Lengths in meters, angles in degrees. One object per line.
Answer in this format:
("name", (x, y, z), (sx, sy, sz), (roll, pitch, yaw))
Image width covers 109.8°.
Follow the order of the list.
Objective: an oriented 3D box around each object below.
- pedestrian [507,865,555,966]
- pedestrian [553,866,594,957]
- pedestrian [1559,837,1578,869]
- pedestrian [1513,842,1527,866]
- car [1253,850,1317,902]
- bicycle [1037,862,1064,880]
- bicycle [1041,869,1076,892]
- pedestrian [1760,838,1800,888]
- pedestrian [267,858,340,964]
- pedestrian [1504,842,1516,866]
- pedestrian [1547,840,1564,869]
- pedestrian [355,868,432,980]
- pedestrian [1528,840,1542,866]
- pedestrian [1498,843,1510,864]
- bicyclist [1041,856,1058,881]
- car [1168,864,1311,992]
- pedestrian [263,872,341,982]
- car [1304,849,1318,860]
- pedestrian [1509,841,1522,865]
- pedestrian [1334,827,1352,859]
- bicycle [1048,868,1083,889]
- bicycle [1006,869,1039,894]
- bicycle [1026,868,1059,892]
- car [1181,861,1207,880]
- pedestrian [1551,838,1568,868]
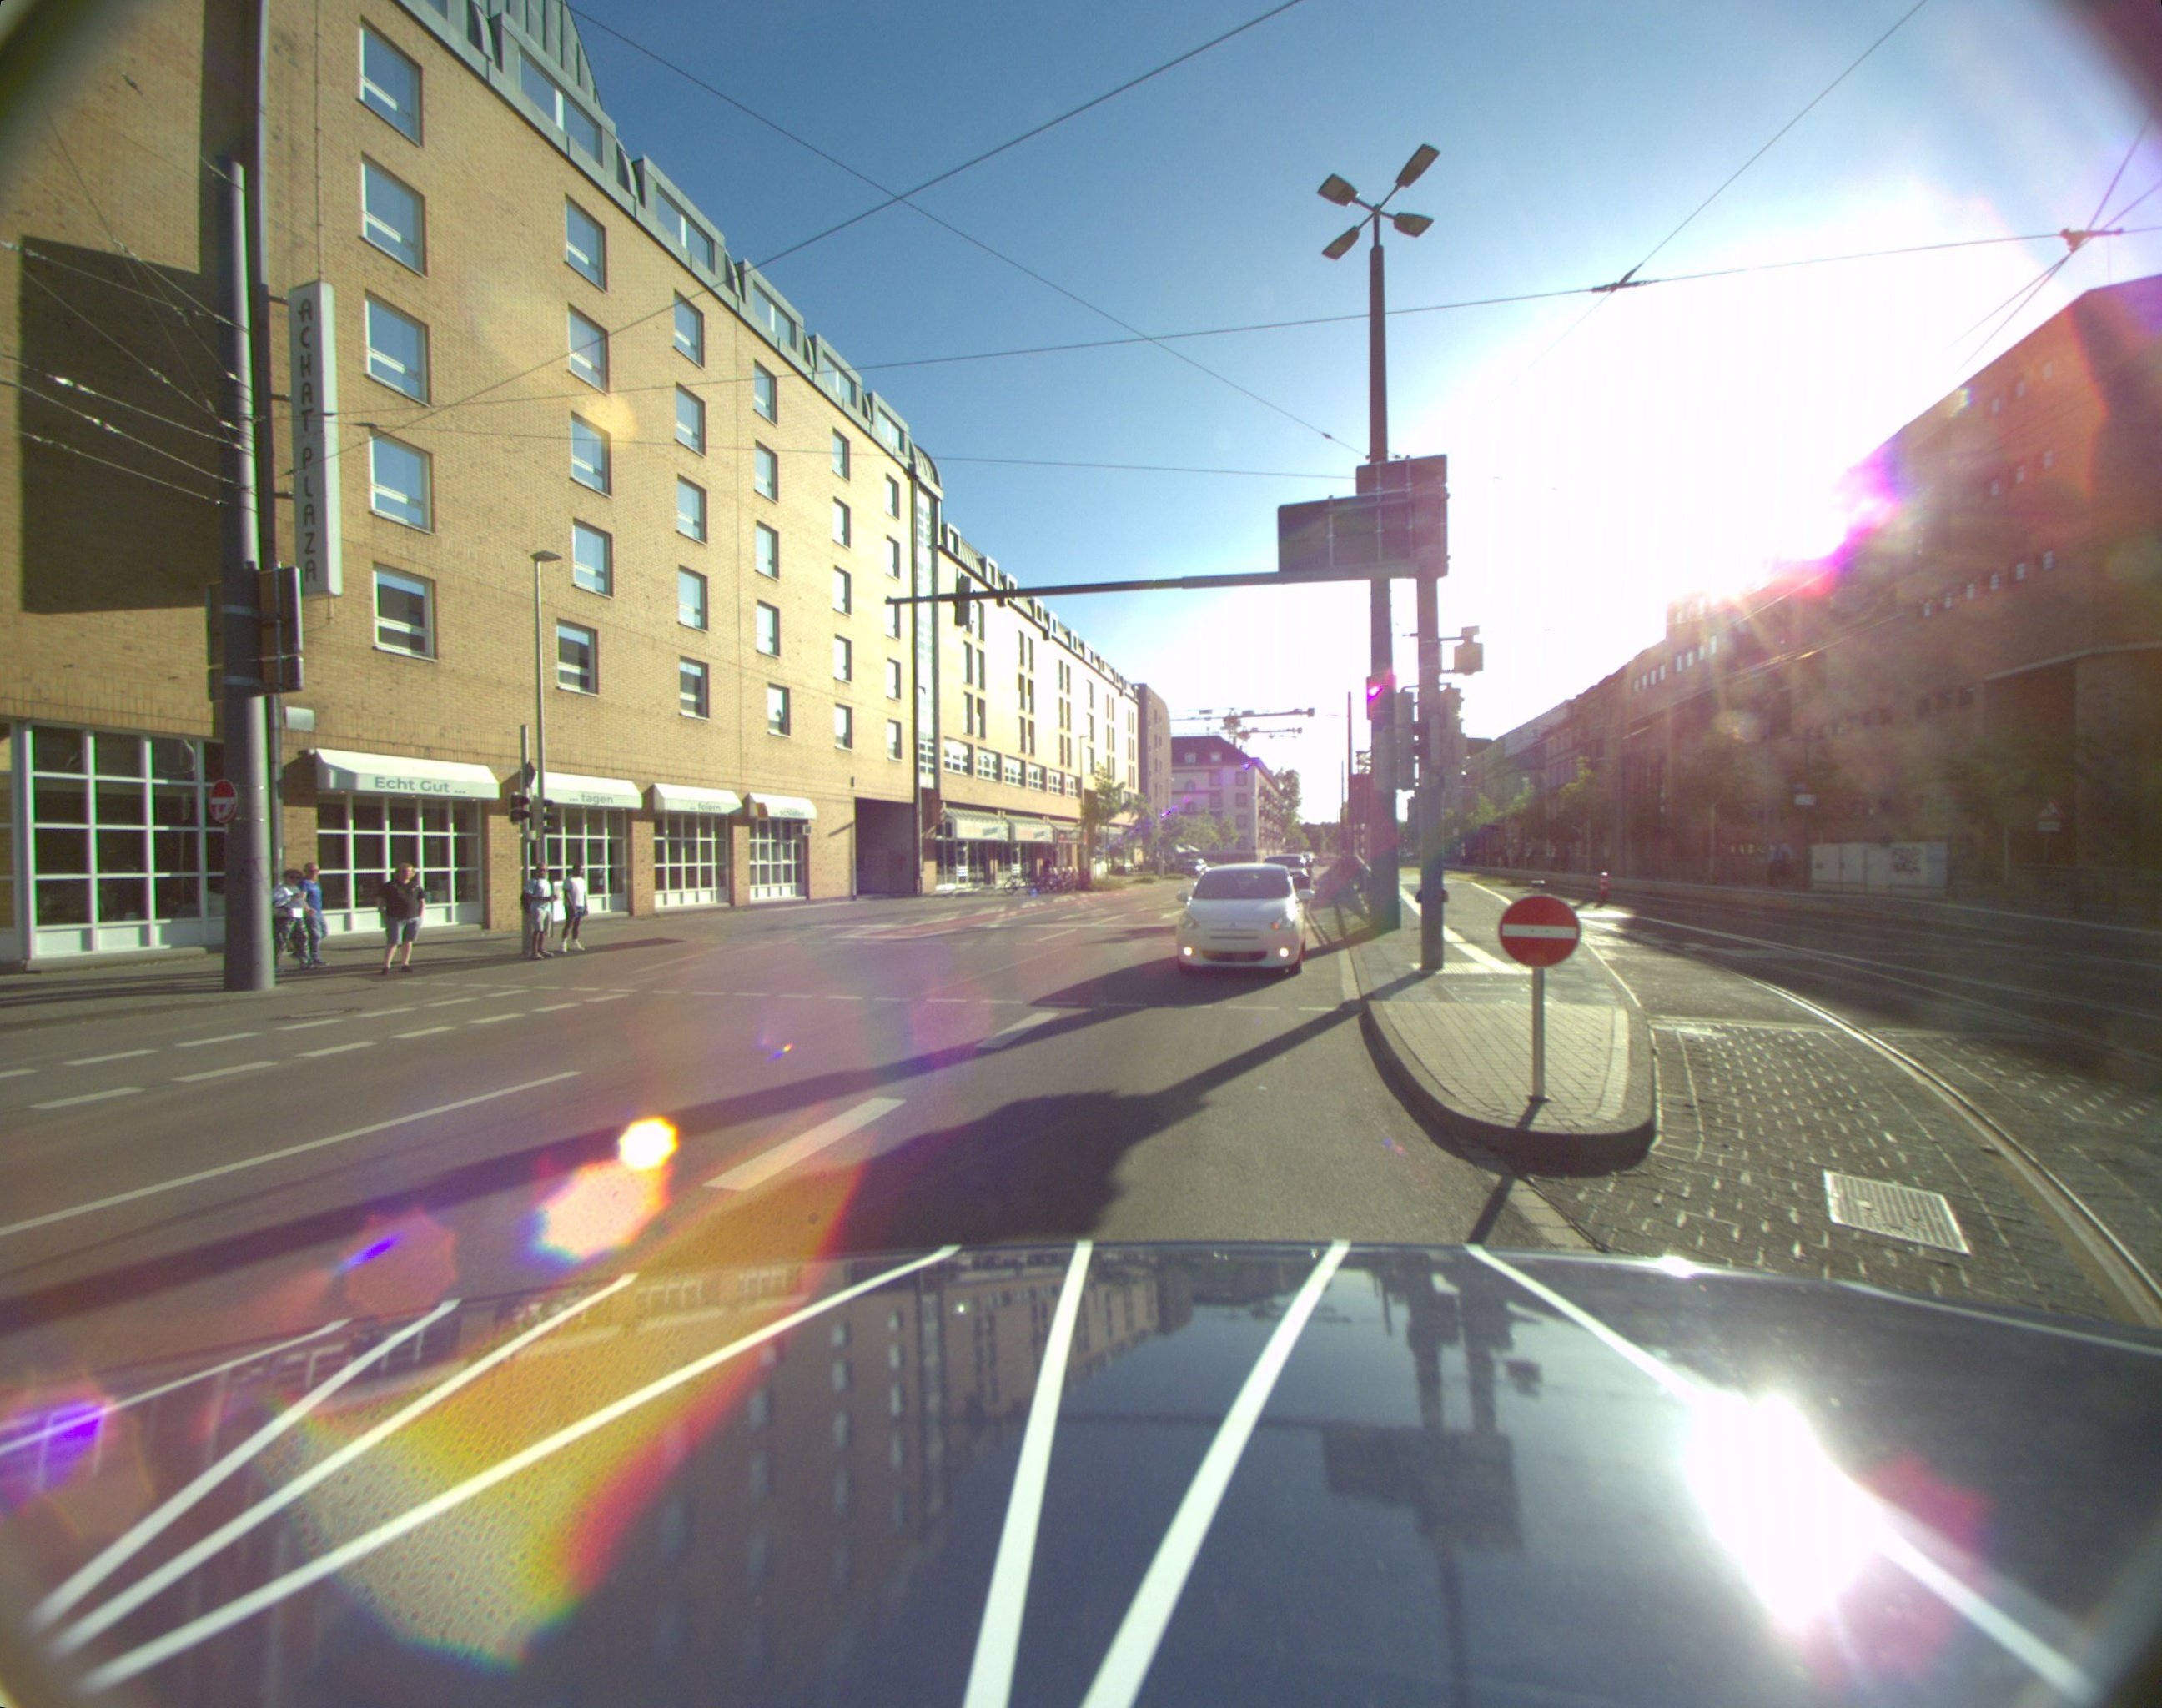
("pedestrian", (-10.272, 1.124, 14.216), (0.498, 1.823, 0.731), (0, 2, -17))
("pedestrian", (-10.212, 1.137, 15.292), (0.404, 1.764, 0.580), (2, 2, 42))
("pedestrian", (26.216, -0.052, 40.879), (0.691, 1.732, 0.587), (-1, 1, 15))
("pedestrian", (31.042, -0.005, 53.706), (0.691, 1.732, 0.587), (-1, 1, 15))
("car", (7.478, 0.725, 27.581), (1.952, 1.652, 4.361), (-2, 0, 18))
("bicycle", (-1.853, 1.042, 47.070), (0.600, 1.044, 1.885), (5, 2, 34))
("bicycle", (-1.174, 1.402, 40.189), (1.772, 1.135, 0.554), (0, 3, 21))
("pedestrian", (22.078, 0.283, 23.996), (0.700, 1.526, 0.655), (-1, 1, 15))
("pedestrian", (-13.067, 0.938, 12.775), (0.602, 1.717, 0.603), (-2, 1, 23))
("pedestrian", (31.775, 0.009, 56.285), (0.691, 1.732, 0.587), (-1, 1, 15))
("pedestrian", (28.451, 0.044, 45.540), (0.691, 1.732, 0.587), (-1, 1, 15))
("pedestrian", (-11.161, 1.119, 12.355), (0.573, 1.757, 0.695), (-2, 0, 9))
("pedestrian", (30.334, -0.042, 50.752), (0.691, 1.732, 0.587), (-1, 1, 15))
("pedestrian", (32.666, -0.030, 58.728), (0.691, 1.566, 0.587), (-1, 1, 15))
("bicyclist", (-1.935, 0.881, 47.088), (0.579, 1.506, 0.852), (4, 1, 34))
("car", (2.576, 0.962, 11.590), (1.638, 1.458, 4.191), (-2, 0, 18))
("pedestrian", (-12.588, 1.152, 12.291), (0.562, 1.694, 0.660), (-2, 1, 24))
("car", (34.679, 0.018, 114.358), (1.827, 1.644, 3.688), (-1, 0, 19))
("pedestrian", (31.427, -0.077, 54.948), (0.691, 1.732, 0.587), (-1, 1, 15))
("pedestrian", (16.433, -0.702, 47.627), (0.879, 2.002, 0.785), (-1, 1, 2))
("bicycle", (-0.845, 1.330, 41.374), (1.772, 1.065, 0.738), (0, 2, 21))
("bicycle", (-2.935, 1.373, 37.977), (1.770, 1.142, 0.554), (1, 3, 39))
("bicycle", (-1.994, 1.330, 39.118), (1.770, 1.142, 0.554), (1, 3, 39))
("car", (10.186, 1.484, 68.468), (1.653, 1.521, 3.697), (-2, 0, 19))
("pedestrian", (28.285, -0.043, 44.916), (0.691, 1.732, 0.587), (-1, 1, 15))
